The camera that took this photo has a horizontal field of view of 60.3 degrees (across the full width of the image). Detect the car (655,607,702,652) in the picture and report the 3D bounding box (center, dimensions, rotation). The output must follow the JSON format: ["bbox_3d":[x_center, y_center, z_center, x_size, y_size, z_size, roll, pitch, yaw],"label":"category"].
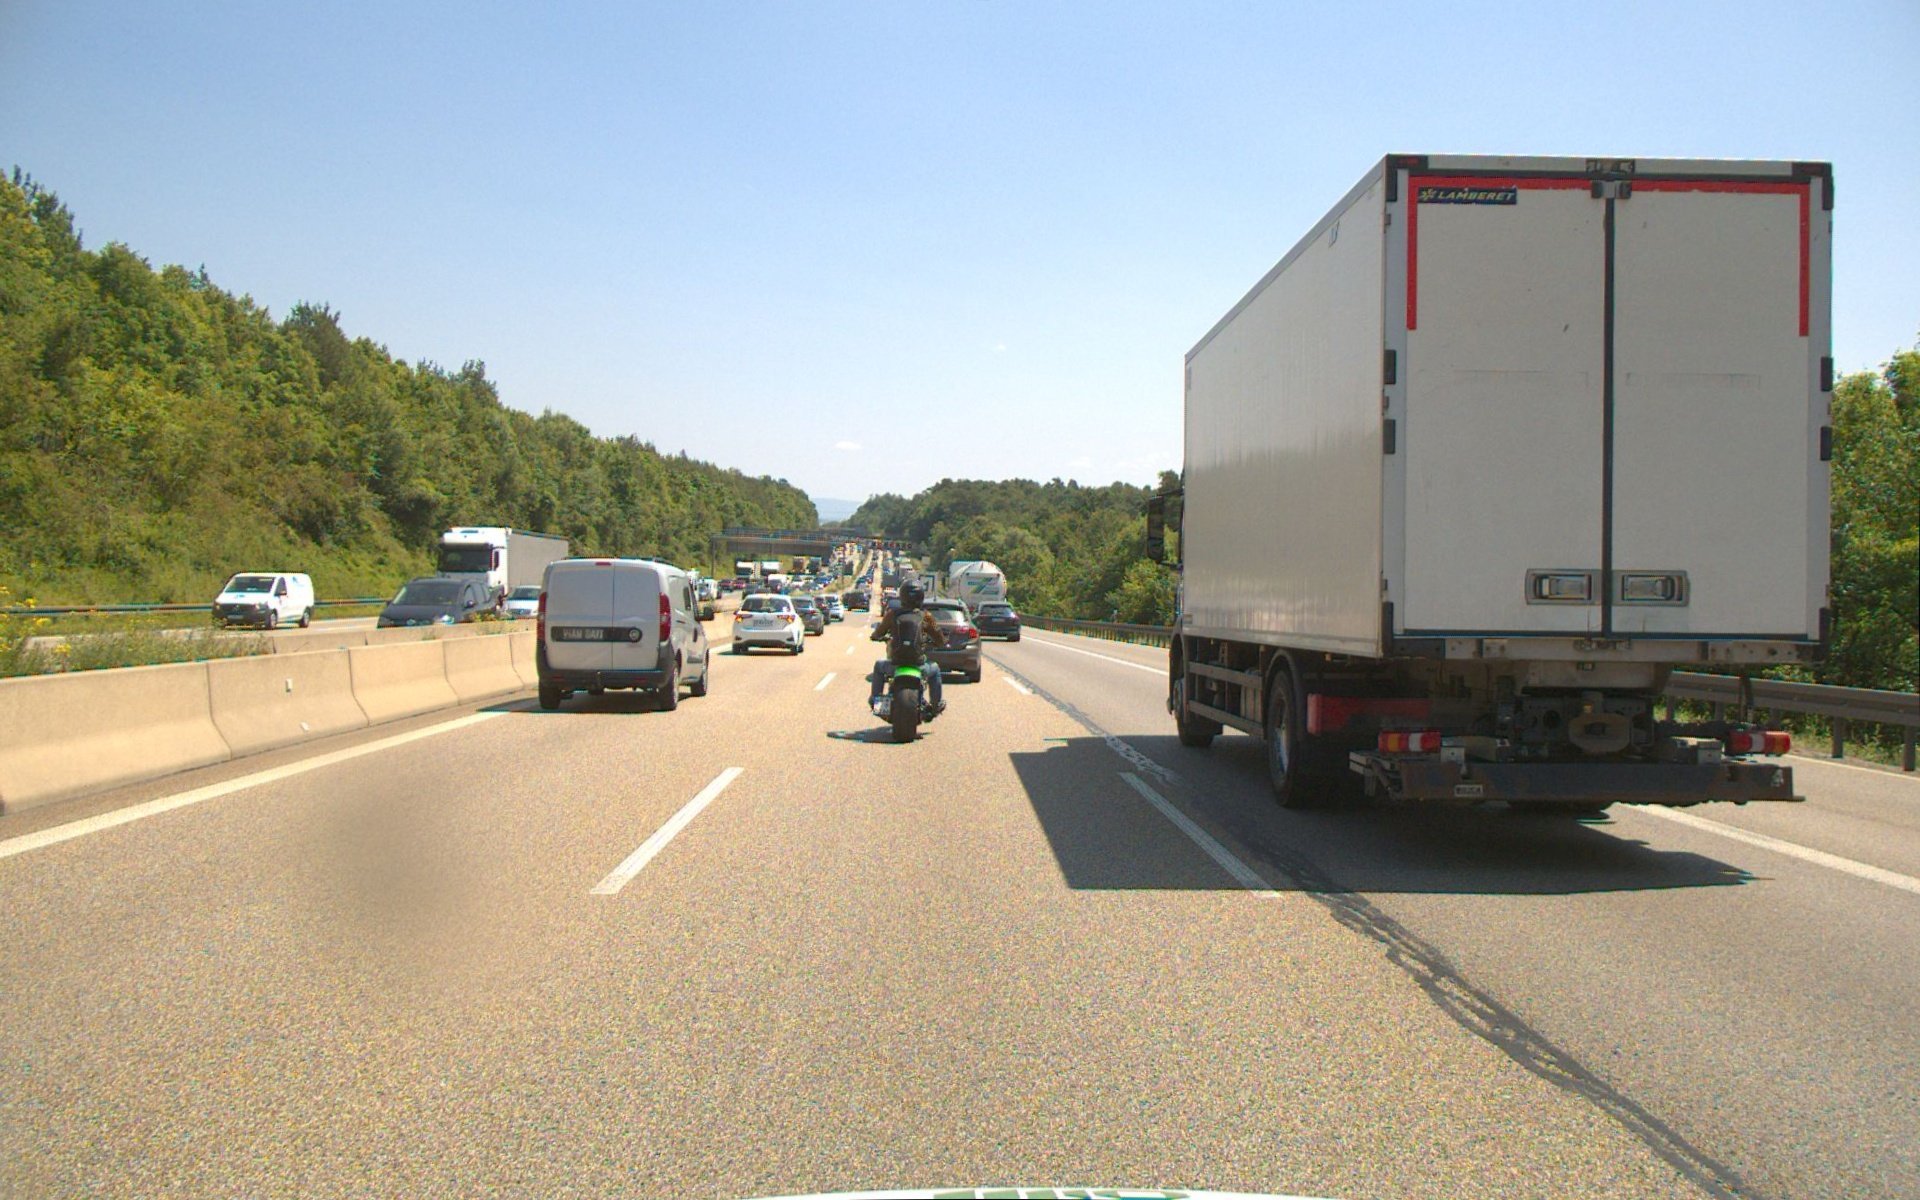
[{"bbox_3d":[-13.396,1.364,78.875,1.728,2.049,3.997,1,0,-4],"label":"car"}]

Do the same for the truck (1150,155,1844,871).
[{"bbox_3d":[3.539,-0.475,14.025,2.633,3.944,9.778,0,0,-1],"label":"truck"}]

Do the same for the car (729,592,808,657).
[{"bbox_3d":[-4.884,0.584,42.562,1.666,1.504,3.998,3,0,-3],"label":"car"}]

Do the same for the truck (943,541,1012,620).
[{"bbox_3d":[0.814,-0.904,84.051,2.928,3.736,9.282,1,-1,-3],"label":"truck"}]

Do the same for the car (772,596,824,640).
[{"bbox_3d":[-6.105,0.652,62.706,1.666,1.504,3.998,3,0,-3],"label":"car"}]

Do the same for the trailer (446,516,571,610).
[{"bbox_3d":[-21.193,-1.568,78.549,2.757,3.977,13.818,1,-1,-3],"label":"trailer"}]

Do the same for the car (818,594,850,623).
[{"bbox_3d":[-7.142,0.475,94.043,1.666,1.504,3.998,3,0,-3],"label":"car"}]

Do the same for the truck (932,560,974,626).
[{"bbox_3d":[-0.405,-0.362,92.896,1.955,3.584,4.746,1,-1,-5],"label":"truck"}]

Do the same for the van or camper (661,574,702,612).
[{"bbox_3d":[-20.976,-0.504,124.957,2.224,2.783,6.801,1,-1,-3],"label":"van or camper"}]

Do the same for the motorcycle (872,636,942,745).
[{"bbox_3d":[-0.557,0.933,17.632,0.677,1.033,2.121,1,0,-2],"label":"motorcycle"}]

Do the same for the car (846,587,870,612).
[{"bbox_3d":[-8.615,-0.055,139.469,1.842,1.892,3.998,3,0,-2],"label":"car"}]

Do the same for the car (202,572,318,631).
[{"bbox_3d":[-23.718,0.076,56.283,1.883,1.900,5.300,1,-1,-3],"label":"car"}]

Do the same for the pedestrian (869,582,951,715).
[{"bbox_3d":[-0.535,0.506,17.770,0.832,1.385,0.961,1,0,-2],"label":"pedestrian"}]

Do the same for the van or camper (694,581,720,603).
[{"bbox_3d":[-24.374,-0.772,159.237,2.034,2.011,3.703,1,0,-2],"label":"van or camper"}]

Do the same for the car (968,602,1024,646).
[{"bbox_3d":[1.352,0.903,63.606,1.792,1.496,3.998,4,0,-3],"label":"car"}]

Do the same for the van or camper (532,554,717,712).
[{"bbox_3d":[-4.430,0.428,22.423,1.760,1.925,4.158,1,-1,-2],"label":"van or camper"}]

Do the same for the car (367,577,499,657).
[{"bbox_3d":[-12.088,0.366,38.237,1.650,1.728,4.657,1,0,-2],"label":"car"}]

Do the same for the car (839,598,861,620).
[{"bbox_3d":[-10.339,0.847,155.503,1.953,2.049,3.998,1,-1,-2],"label":"car"}]

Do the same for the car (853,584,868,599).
[{"bbox_3d":[-13.738,-1.166,228.207,1.891,2.049,3.998,1,-1,-2],"label":"car"}]

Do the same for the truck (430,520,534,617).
[{"bbox_3d":[-20.784,-1.266,72.364,2.757,3.977,7.310,1,-1,-3],"label":"truck"}]

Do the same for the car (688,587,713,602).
[{"bbox_3d":[-24.213,-0.503,154.624,1.765,1.370,4.721,2,0,-2],"label":"car"}]

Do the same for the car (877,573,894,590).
[{"bbox_3d":[-11.861,-2.945,262.687,2.454,2.632,5.013,3,0,-3],"label":"car"}]

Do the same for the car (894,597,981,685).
[{"bbox_3d":[-0.406,0.722,31.061,1.501,1.536,3.999,1,0,-1],"label":"car"}]

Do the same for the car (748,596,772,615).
[{"bbox_3d":[-16.751,0.465,138.897,1.676,1.565,4.126,1,0,-3],"label":"car"}]

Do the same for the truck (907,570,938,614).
[{"bbox_3d":[-4.244,-0.900,186.977,2.973,4.621,9.977,4,0,-3],"label":"truck"}]

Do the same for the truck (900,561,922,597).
[{"bbox_3d":[-7.764,-3.254,259.791,2.973,5.228,9.977,4,0,-3],"label":"truck"}]

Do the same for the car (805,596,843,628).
[{"bbox_3d":[-6.849,0.577,83.491,1.666,1.504,3.998,3,0,-3],"label":"car"}]

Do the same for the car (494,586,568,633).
[{"bbox_3d":[-16.308,0.365,63.061,1.790,1.699,4.103,1,-1,-2],"label":"car"}]

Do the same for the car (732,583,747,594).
[{"bbox_3d":[-32.209,-1.675,241.861,1.727,1.394,4.499,2,0,-3],"label":"car"}]

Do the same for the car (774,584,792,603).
[{"bbox_3d":[-19.740,-0.714,184.452,1.855,1.982,3.996,1,-1,-4],"label":"car"}]
